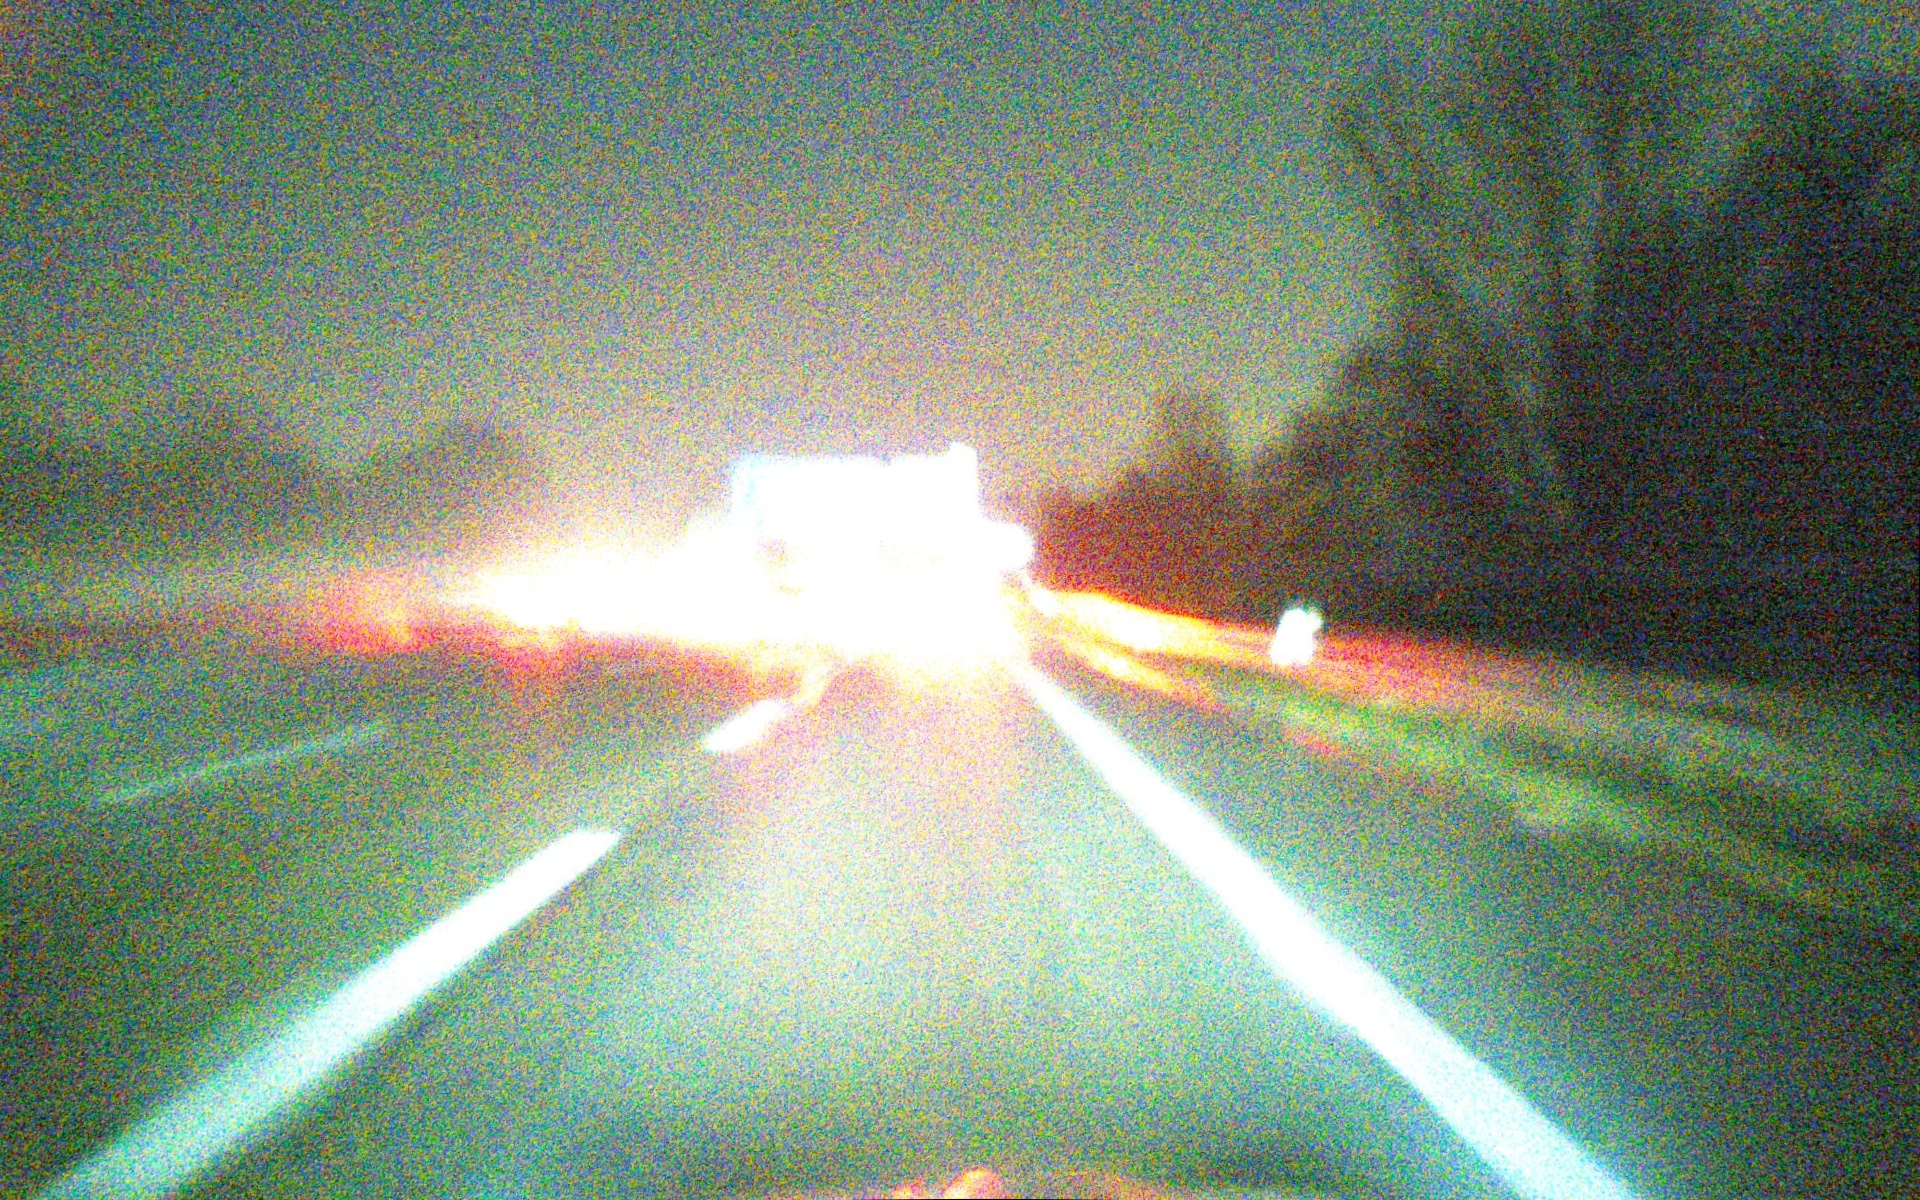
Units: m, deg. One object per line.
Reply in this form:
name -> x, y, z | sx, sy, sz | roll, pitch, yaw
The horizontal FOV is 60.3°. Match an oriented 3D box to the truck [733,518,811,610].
truck -> -12.442, -2.290, 110.773 | 4.125, 5.747, 11.463 | 1, 0, -2

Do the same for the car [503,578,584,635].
car -> -12.834, 0.197, 51.149 | 1.956, 1.624, 3.993 | 1, 0, -8

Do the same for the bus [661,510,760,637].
bus -> -9.833, -0.953, 66.328 | 3.036, 4.587, 10.902 | 1, 0, -4

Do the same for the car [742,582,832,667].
car -> -4.446, 0.604, 43.186 | 2.084, 2.049, 4.642 | 1, 0, -3

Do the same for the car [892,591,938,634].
car -> -2.242, 0.602, 81.591 | 2.084, 2.049, 4.642 | 1, 0, -3

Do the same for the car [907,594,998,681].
car -> -0.204, 0.821, 37.871 | 1.953, 1.839, 3.999 | 1, 0, -1

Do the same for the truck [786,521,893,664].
truck -> -5.135, -0.288, 73.205 | 4.125, 5.747, 11.463 | 1, 0, -2
